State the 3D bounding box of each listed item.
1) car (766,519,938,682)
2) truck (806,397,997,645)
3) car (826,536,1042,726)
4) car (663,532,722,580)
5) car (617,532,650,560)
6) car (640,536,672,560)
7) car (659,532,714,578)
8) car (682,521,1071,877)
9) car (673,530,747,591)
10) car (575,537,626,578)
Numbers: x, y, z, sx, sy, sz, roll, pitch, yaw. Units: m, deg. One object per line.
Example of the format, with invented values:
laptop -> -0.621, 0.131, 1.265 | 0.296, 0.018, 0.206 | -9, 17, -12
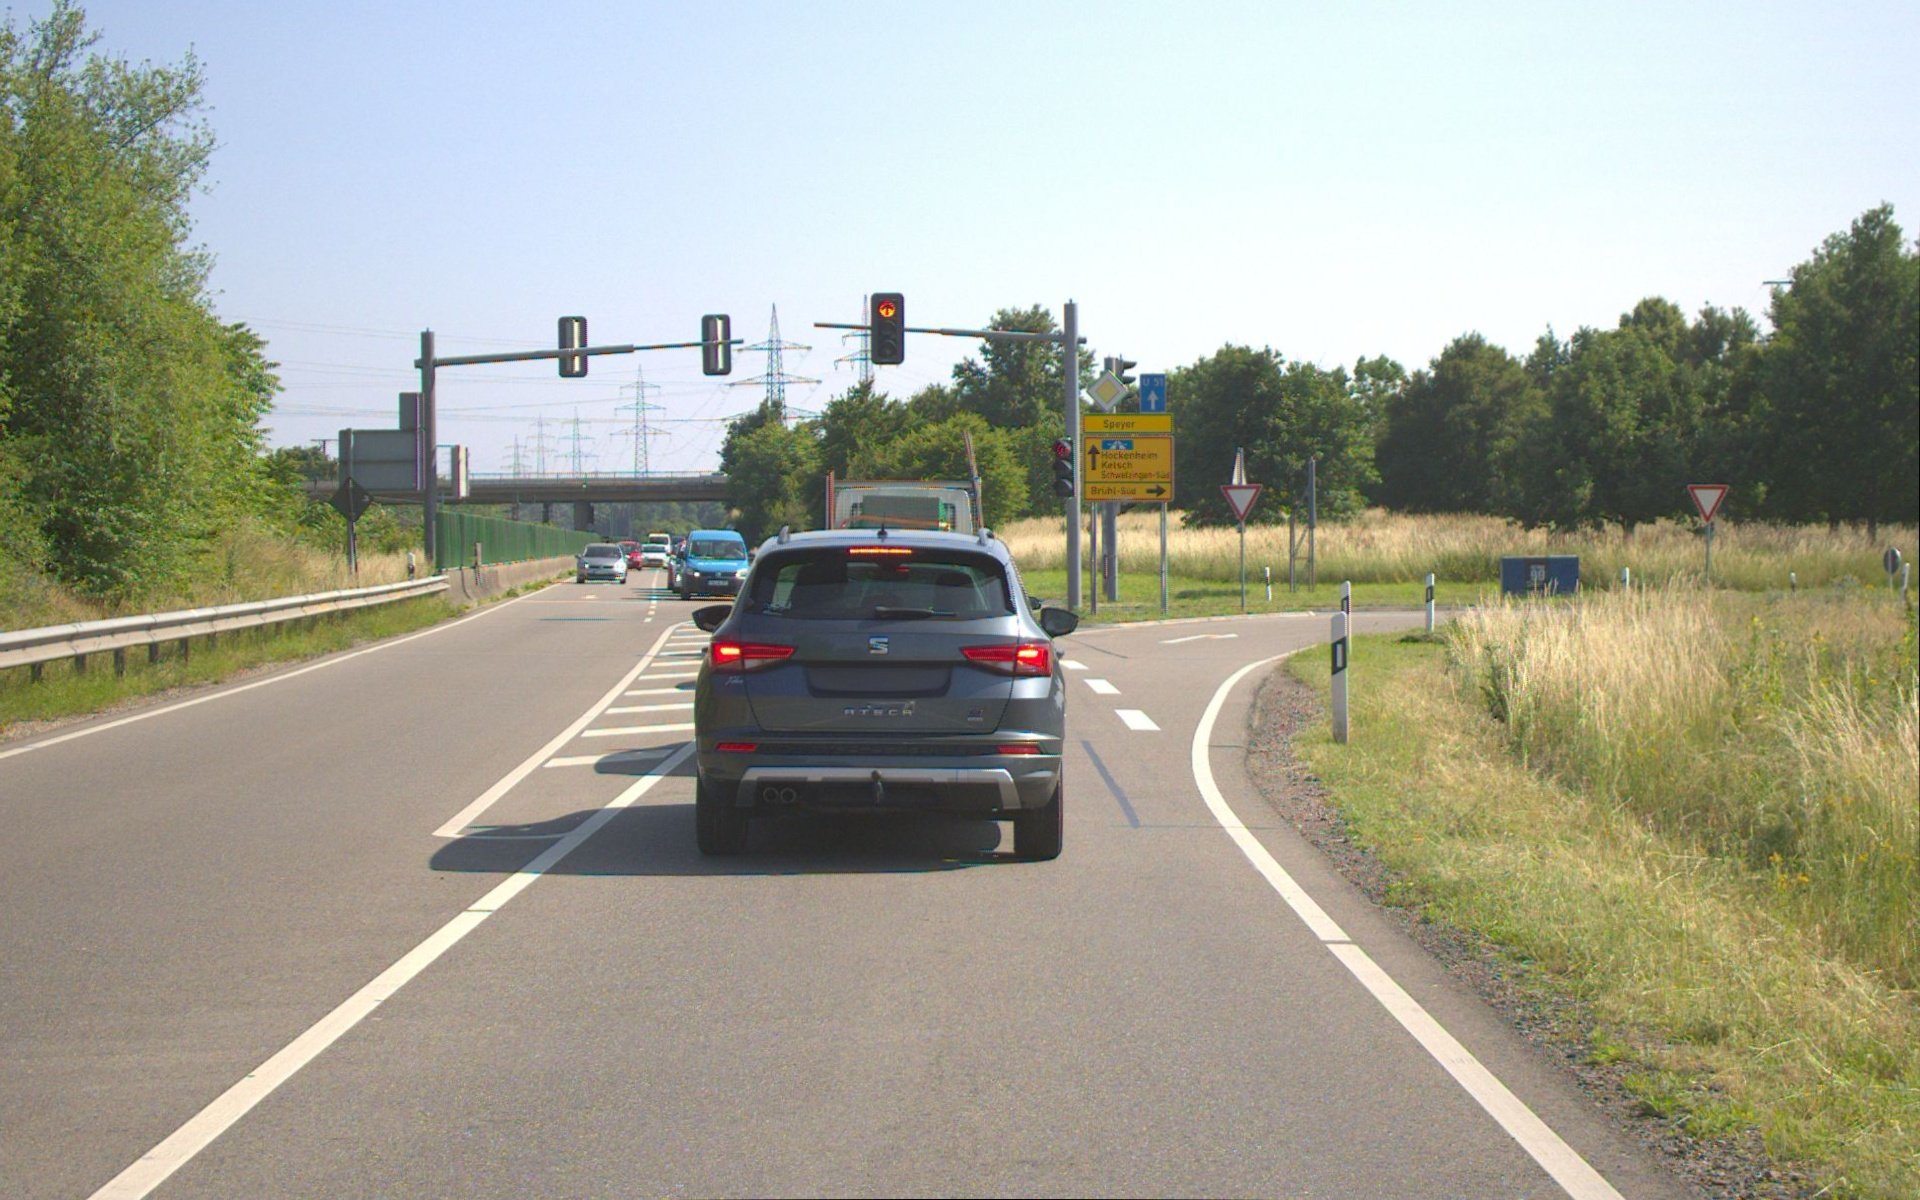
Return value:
car -> -1.200, -0.042, 37.720 | 1.785, 1.670, 4.001 | 0, 1, -2
truck -> -0.779, -1.006, 45.362 | 2.337, 3.055, 5.810 | 0, 1, -1
car -> -0.292, 0.220, 30.593 | 1.785, 1.538, 4.001 | 0, 1, -2
car -> -7.924, -1.307, 101.791 | 1.684, 1.375, 3.534 | 0, 1, -5
car -> -17.653, -2.931, 185.698 | 1.761, 1.426, 4.001 | -1, 1, -6
car -> -17.389, -2.967, 196.449 | 1.761, 1.329, 4.001 | -1, 1, -6
car -> -8.632, -1.432, 108.227 | 1.684, 1.375, 3.534 | 0, 1, -5
car -> -0.456, 0.410, 17.834 | 1.785, 1.623, 4.001 | 0, 1, -2
car -> -6.499, -1.043, 89.096 | 1.816, 1.535, 4.001 | -1, 1, -6
car -> -13.088, -1.560, 125.167 | 1.824, 1.426, 4.001 | -1, 1, -6
